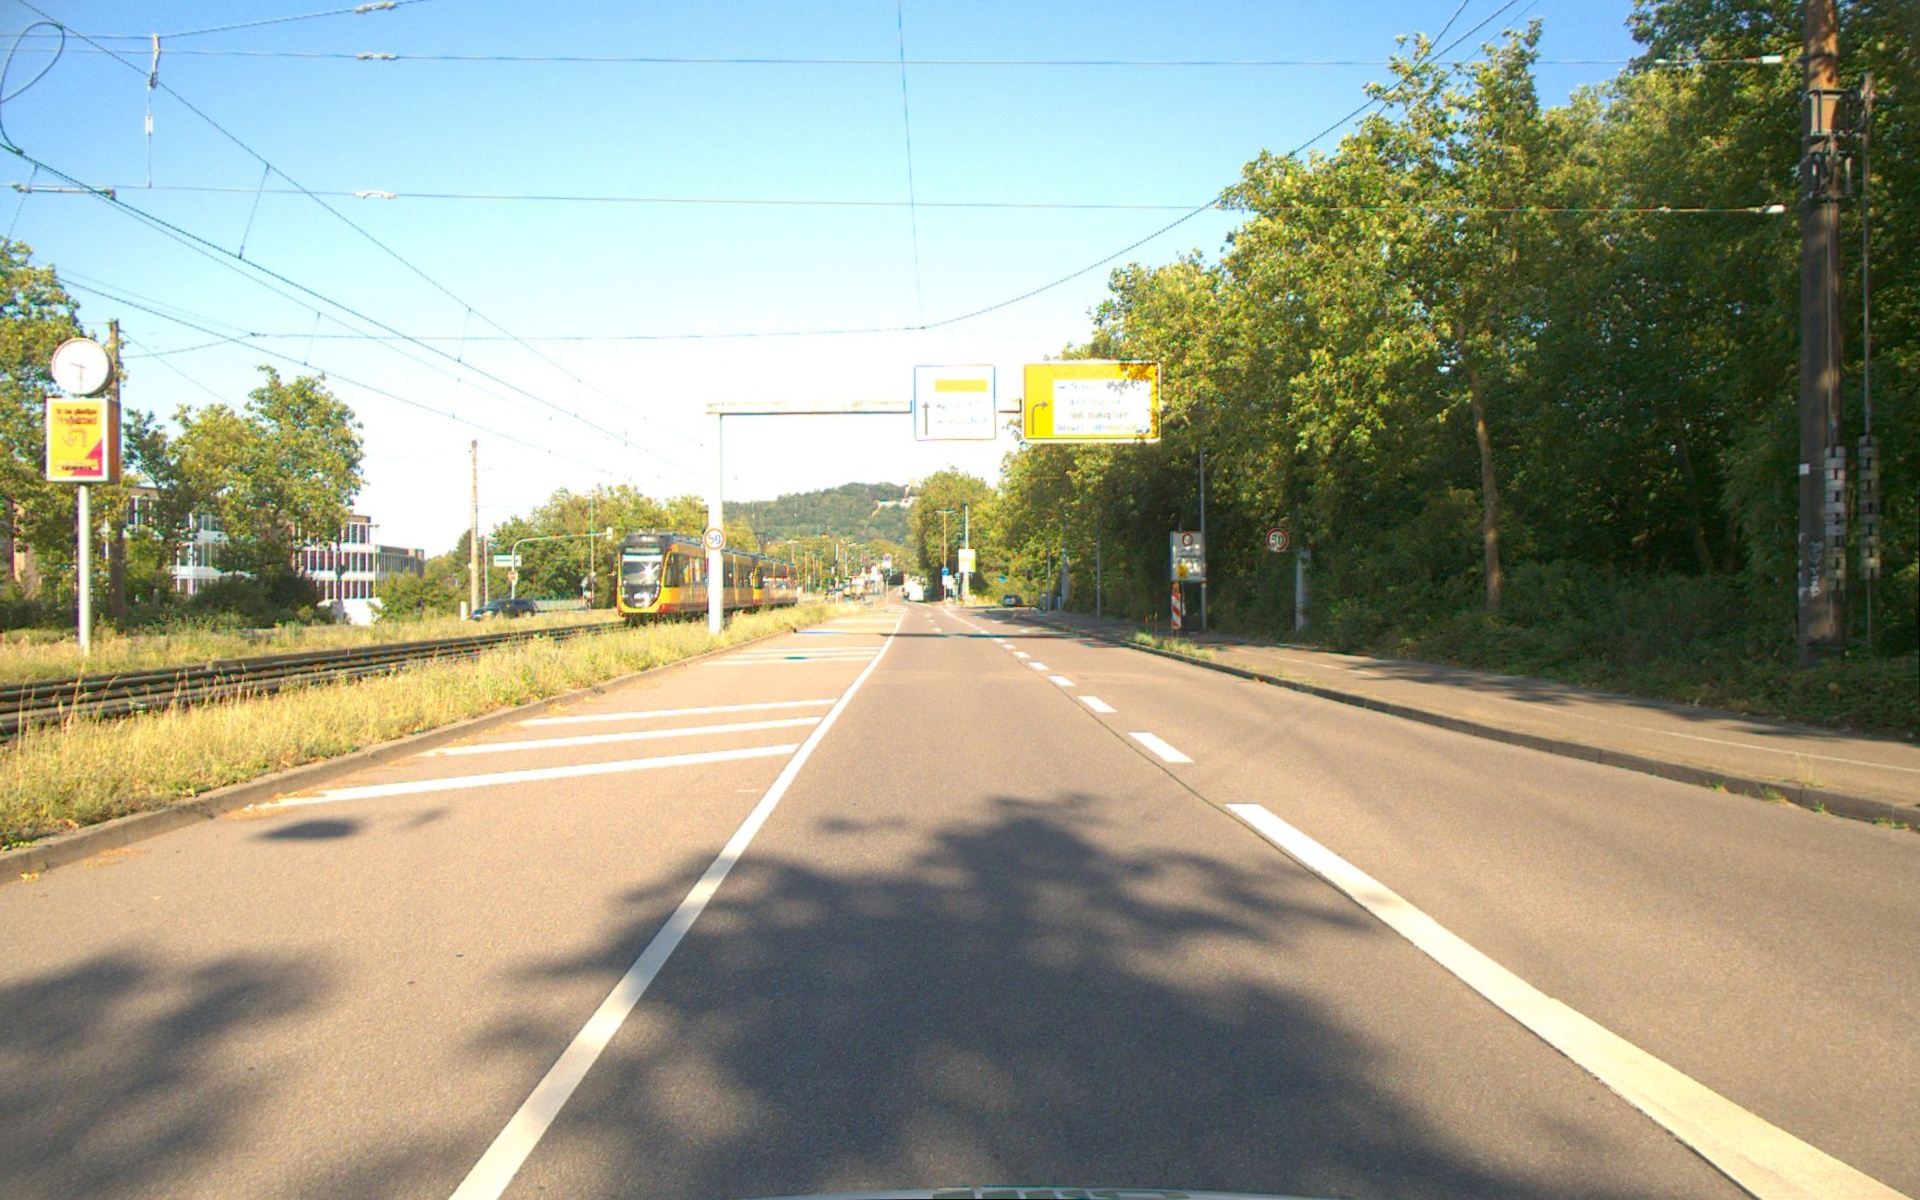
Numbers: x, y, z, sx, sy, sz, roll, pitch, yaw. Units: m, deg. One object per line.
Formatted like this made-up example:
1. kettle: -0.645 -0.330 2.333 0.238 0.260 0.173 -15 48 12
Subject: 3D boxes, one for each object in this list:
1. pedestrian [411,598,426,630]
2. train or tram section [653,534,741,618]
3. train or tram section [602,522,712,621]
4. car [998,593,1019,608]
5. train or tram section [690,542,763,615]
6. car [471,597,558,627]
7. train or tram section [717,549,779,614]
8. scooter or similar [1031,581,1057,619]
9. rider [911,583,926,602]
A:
1. pedestrian: -31.483 0.830 96.161 0.529 1.853 0.651 1 0 20
2. train or tram section: -13.367 -1.177 85.022 2.747 3.971 11.988 1 0 -1
3. train or tram section: -13.145 -1.154 72.882 2.747 3.971 12.329 1 0 -1
4. car: 5.315 0.063 182.030 2.042 1.593 3.957 1 0 5
5. train or tram section: -13.559 -1.200 96.932 2.747 3.971 11.810 1 0 -1
6. car: -28.560 0.757 106.109 5.063 1.846 1.930 1 0 -29
7. train or tram section: -13.854 -1.168 109.063 2.767 4.019 12.703 1 0 -2
8. scooter or similar: 6.248 -0.021 123.438 1.647 2.763 4.868 0 0 -1
9. rider: -5.935 -1.080 237.744 2.064 2.693 0.737 0 0 4
